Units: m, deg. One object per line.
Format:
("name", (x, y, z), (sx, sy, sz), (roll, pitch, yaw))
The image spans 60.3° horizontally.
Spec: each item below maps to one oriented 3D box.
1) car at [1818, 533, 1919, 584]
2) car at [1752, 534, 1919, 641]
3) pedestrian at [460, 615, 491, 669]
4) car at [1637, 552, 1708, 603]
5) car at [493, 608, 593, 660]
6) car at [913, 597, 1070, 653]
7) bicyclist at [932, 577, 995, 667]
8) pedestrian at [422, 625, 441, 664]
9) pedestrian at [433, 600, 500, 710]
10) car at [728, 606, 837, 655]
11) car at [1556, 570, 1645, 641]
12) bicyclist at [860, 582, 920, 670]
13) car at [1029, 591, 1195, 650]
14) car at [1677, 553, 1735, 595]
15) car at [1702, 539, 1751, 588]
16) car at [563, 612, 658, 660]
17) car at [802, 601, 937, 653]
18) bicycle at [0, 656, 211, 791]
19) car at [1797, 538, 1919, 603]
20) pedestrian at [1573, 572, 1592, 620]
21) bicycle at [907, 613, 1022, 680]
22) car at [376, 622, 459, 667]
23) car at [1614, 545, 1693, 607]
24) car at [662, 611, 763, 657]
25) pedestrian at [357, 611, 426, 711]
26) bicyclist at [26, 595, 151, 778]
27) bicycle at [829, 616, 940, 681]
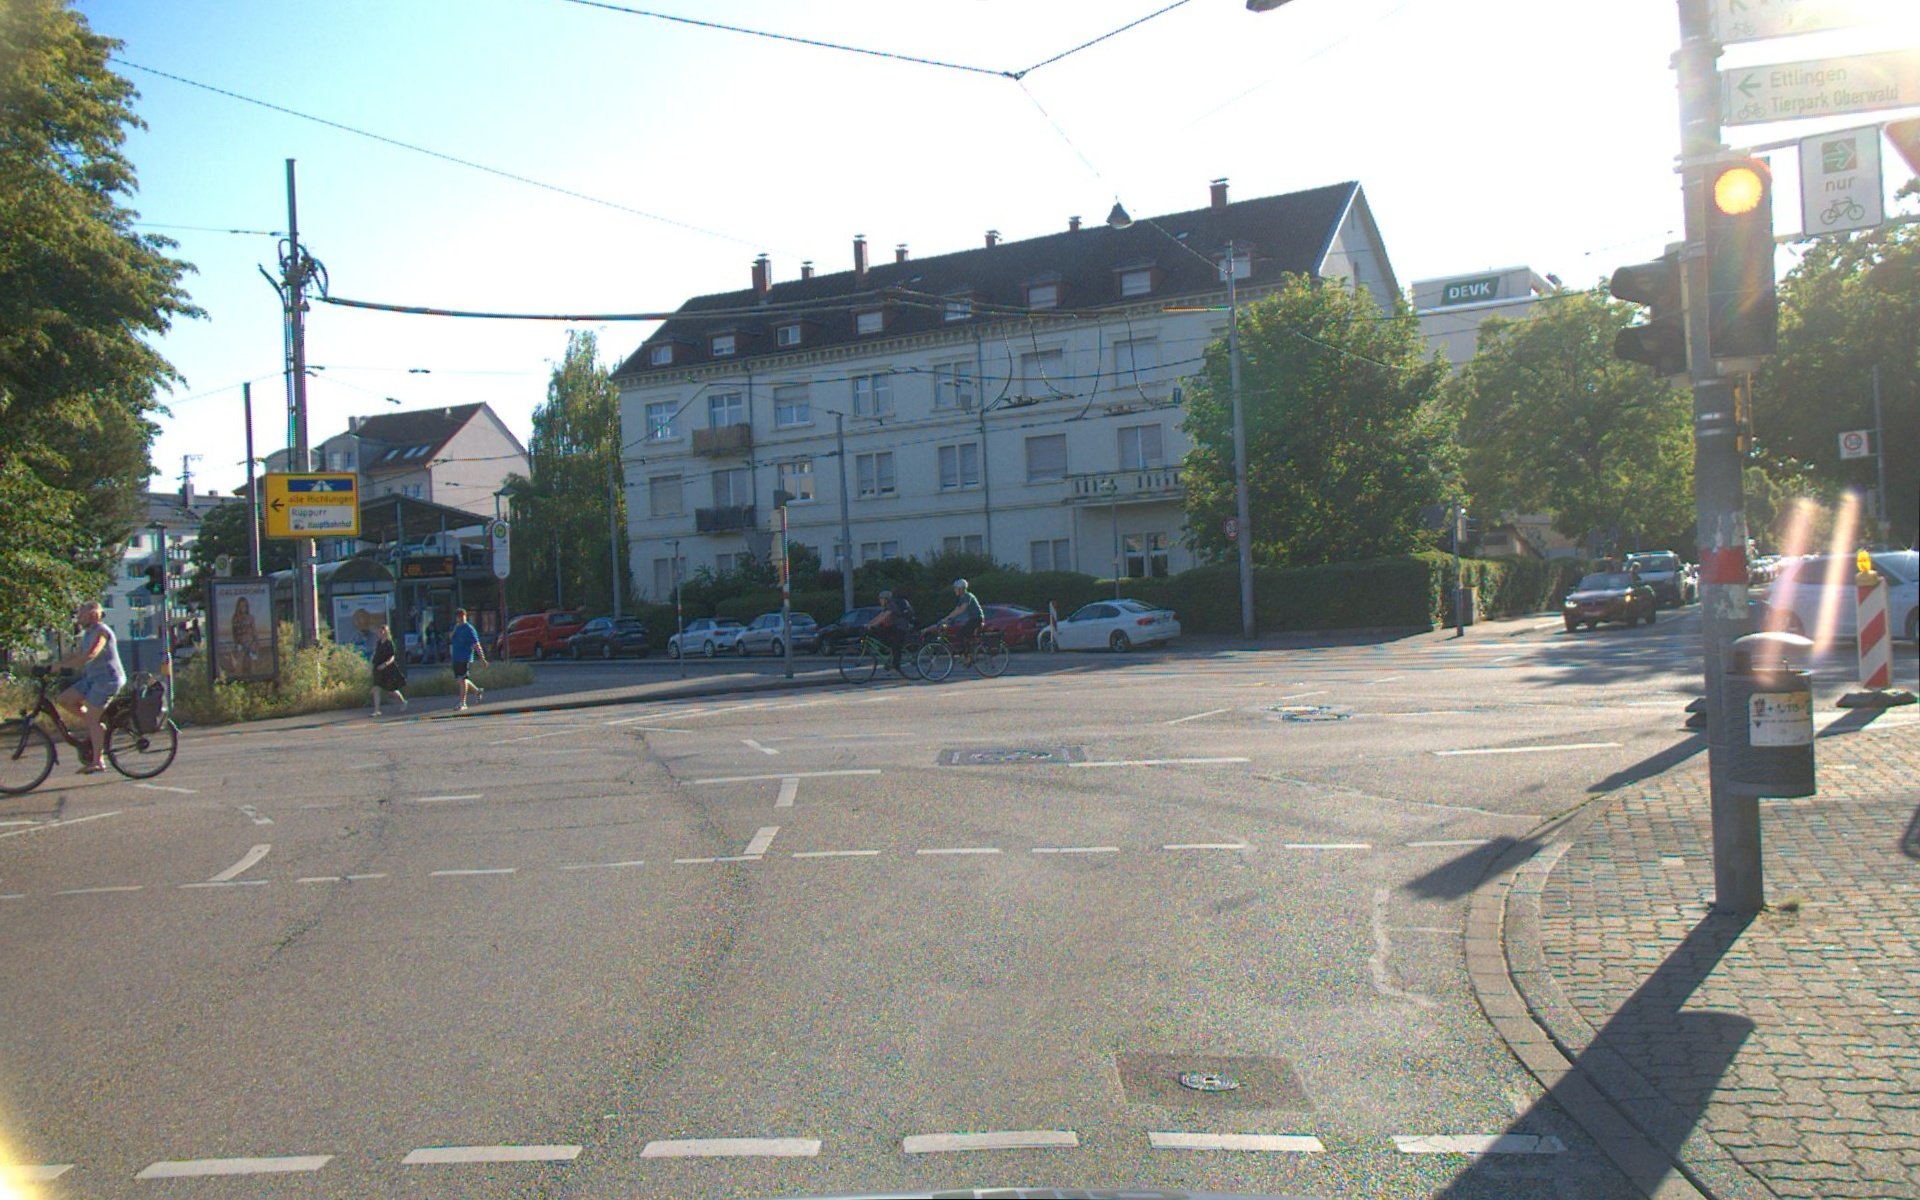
("car", (40.816, -1.830, 73.117), (4.990, 1.958, 2.360), (-3, -2, 26))
("car", (14.082, -0.201, 24.662), (1.861, 1.512, 3.981), (-3, 0, -17))
("pedestrian", (-19.080, 1.657, 65.151), (0.914, 2.048, 0.759), (-3, 0, -37))
("car", (28.350, -0.920, 65.758), (2.308, 1.826, 5.306), (-3, 0, 26))
("car", (-18.162, 1.519, 71.945), (2.039, 1.995, 5.073), (-6, 2, -41))
("car", (0.915, 0.768, 50.119), (4.625, 1.400, 1.974), (-3, 2, 44))
("bicyclist", (0.059, 0.390, 29.925), (1.014, 1.558, 0.697), (-3, 0, -7))
("pedestrian", (-21.130, 1.789, 66.136), (0.560, 1.527, 0.672), (-3, 0, -29))
("pedestrian", (-9.187, 1.010, 30.831), (0.894, 1.958, 1.066), (-3, 0, -5))
("car", (-6.210, 1.084, 57.762), (1.971, 1.472, 3.663), (-6, 2, -41))
("car", (16.816, 0.102, 43.317), (1.856, 1.591, 4.391), (-6, -1, 24))
("bicyclist", (-1.315, 0.476, 30.838), (1.014, 1.558, 0.660), (-3, 0, -7))
("car", (4.200, 0.591, 46.176), (1.916, 1.400, 4.426), (-6, 2, -43))
("car", (35.642, -1.252, 78.970), (2.308, 1.826, 5.306), (-3, 0, 26))
("car", (43.111, -2.037, 92.942), (2.308, 2.558, 5.306), (-3, 0, 26))
("car", (-14.192, 1.476, 66.965), (1.830, 1.696, 4.304), (-6, 2, -41))
("car", (-3.030, 0.911, 54.567), (1.970, 1.472, 4.634), (-6, 2, -41))
("bicycle", (-8.201, 1.134, 15.521), (2.001, 1.087, 0.654), (-3, 0, -41))
("car", (31.343, -1.019, 55.667), (5.510, 1.958, 2.360), (-3, -2, 26))
("pedestrian", (22.879, -0.150, 60.808), (0.567, 1.761, 0.608), (-3, 0, 23))
("bicycle", (0.070, 0.840, 29.930), (1.974, 1.087, 0.662), (-3, 0, -7))
("car", (-27.191, 2.230, 82.780), (2.039, 1.995, 5.073), (-6, 2, -41))
("car", (25.348, -0.870, 60.332), (2.308, 2.049, 5.306), (-3, 0, 26))
("car", (-9.174, 1.272, 61.208), (1.830, 1.472, 3.899), (-6, 2, -41))
("pedestrian", (-10.511, 1.113, 30.602), (0.894, 1.777, 1.066), (-3, 0, -5))
("bicyclist", (-8.198, 0.795, 15.552), (0.849, 1.633, 0.766), (-3, 0, -40))
("bicycle", (-1.404, 0.901, 30.793), (1.975, 1.087, 0.662), (-3, 0, -8))
